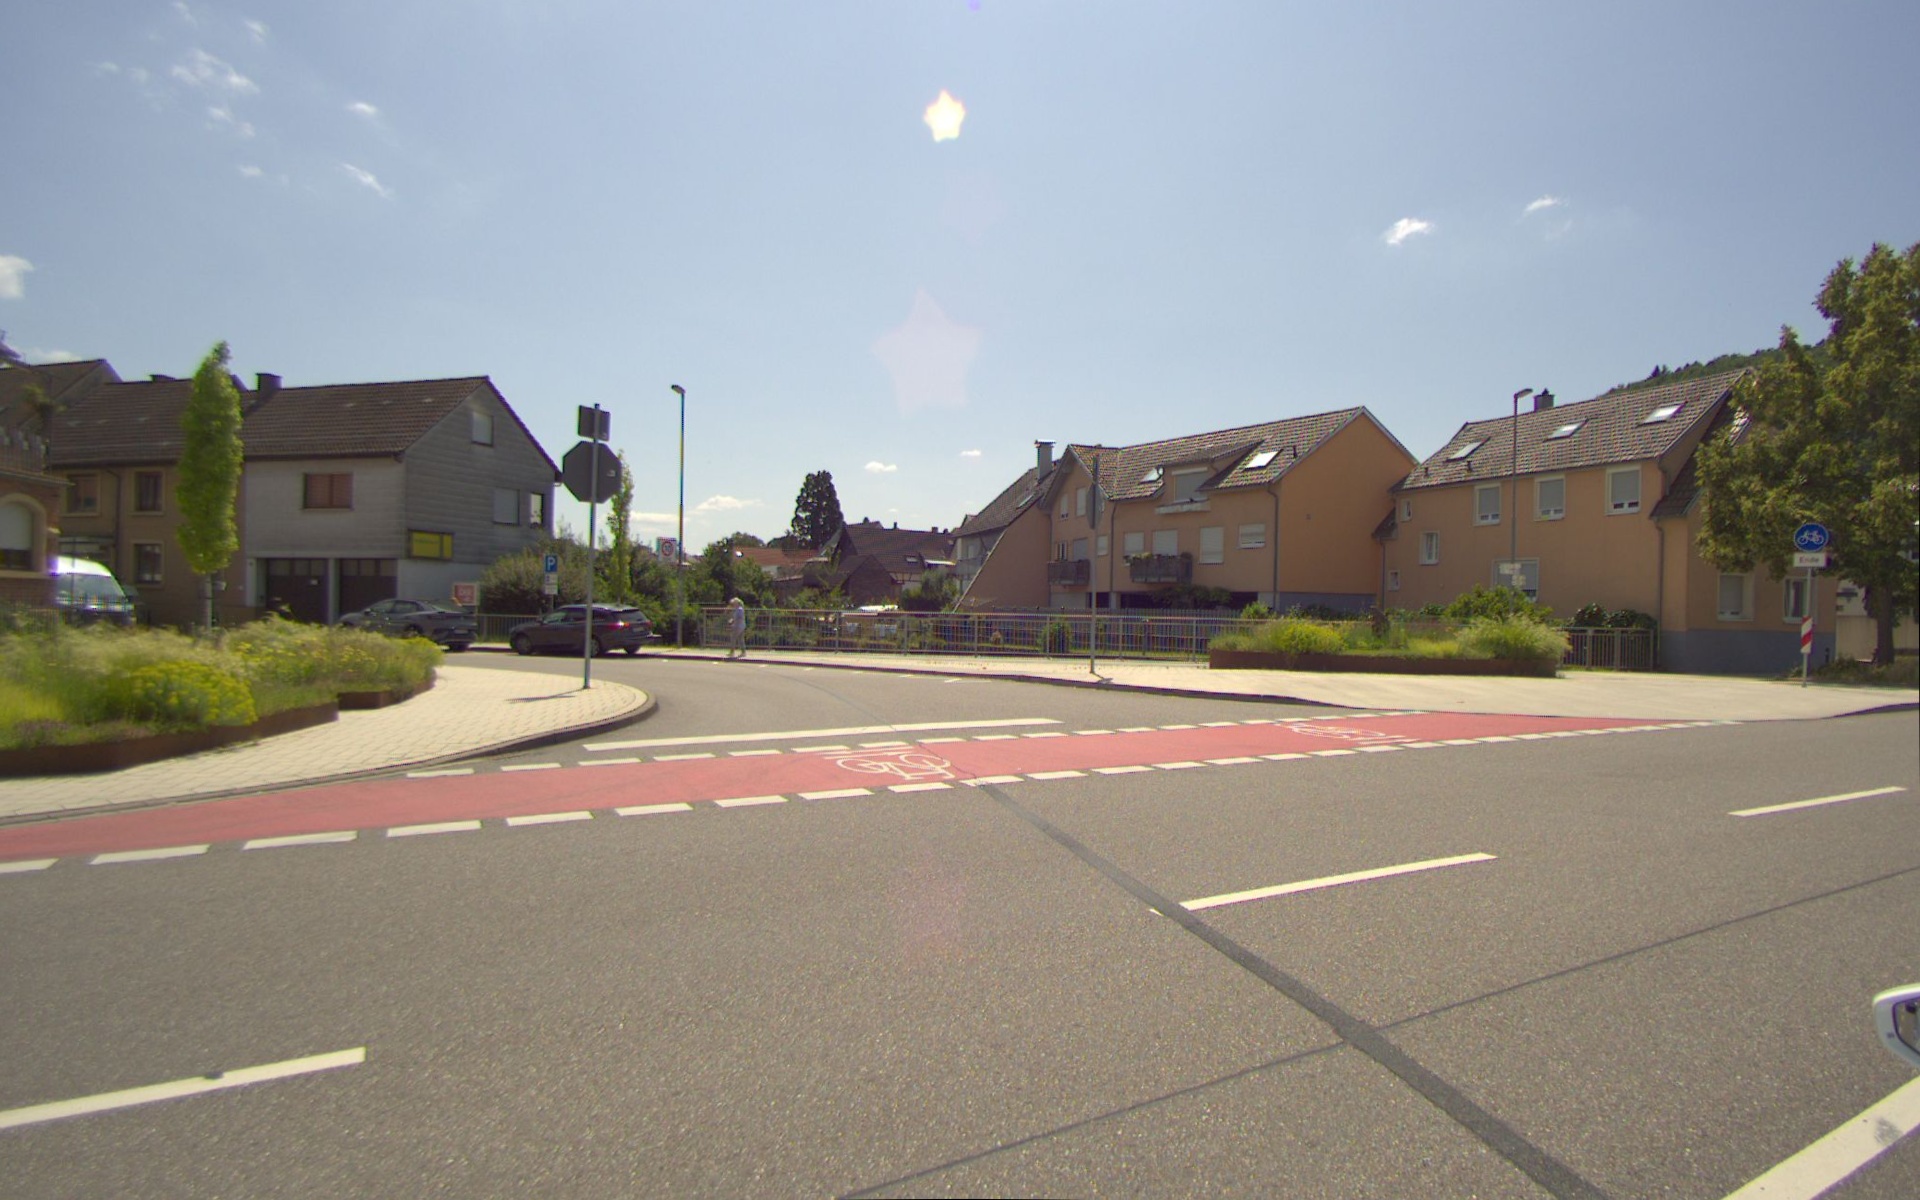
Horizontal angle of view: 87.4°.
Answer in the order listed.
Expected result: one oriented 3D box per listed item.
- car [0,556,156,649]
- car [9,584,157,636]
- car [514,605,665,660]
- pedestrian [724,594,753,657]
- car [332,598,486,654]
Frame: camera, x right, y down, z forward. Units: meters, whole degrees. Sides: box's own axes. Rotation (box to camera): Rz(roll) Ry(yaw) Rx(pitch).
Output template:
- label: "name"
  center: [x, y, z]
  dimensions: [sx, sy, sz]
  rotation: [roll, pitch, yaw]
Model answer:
- label: "car"
  center: [-24.737, 0.066, 27.375]
  dimensions: [5.013, 2.376, 2.173]
  rotation: [1, -1, 22]
- label: "car"
  center: [-31.874, 0.373, 36.544]
  dimensions: [3.919, 1.750, 2.071]
  rotation: [1, -1, 12]
- label: "car"
  center: [-10.938, 0.920, 29.720]
  dimensions: [3.921, 1.483, 1.861]
  rotation: [1, 0, 21]
- label: "pedestrian"
  center: [-6.331, 0.731, 28.753]
  dimensions: [0.603, 1.772, 0.506]
  rotation: [1, 0, 25]
- label: "car"
  center: [-17.047, 0.797, 31.087]
  dimensions: [4.149, 1.567, 1.788]
  rotation: [1, -1, 18]
